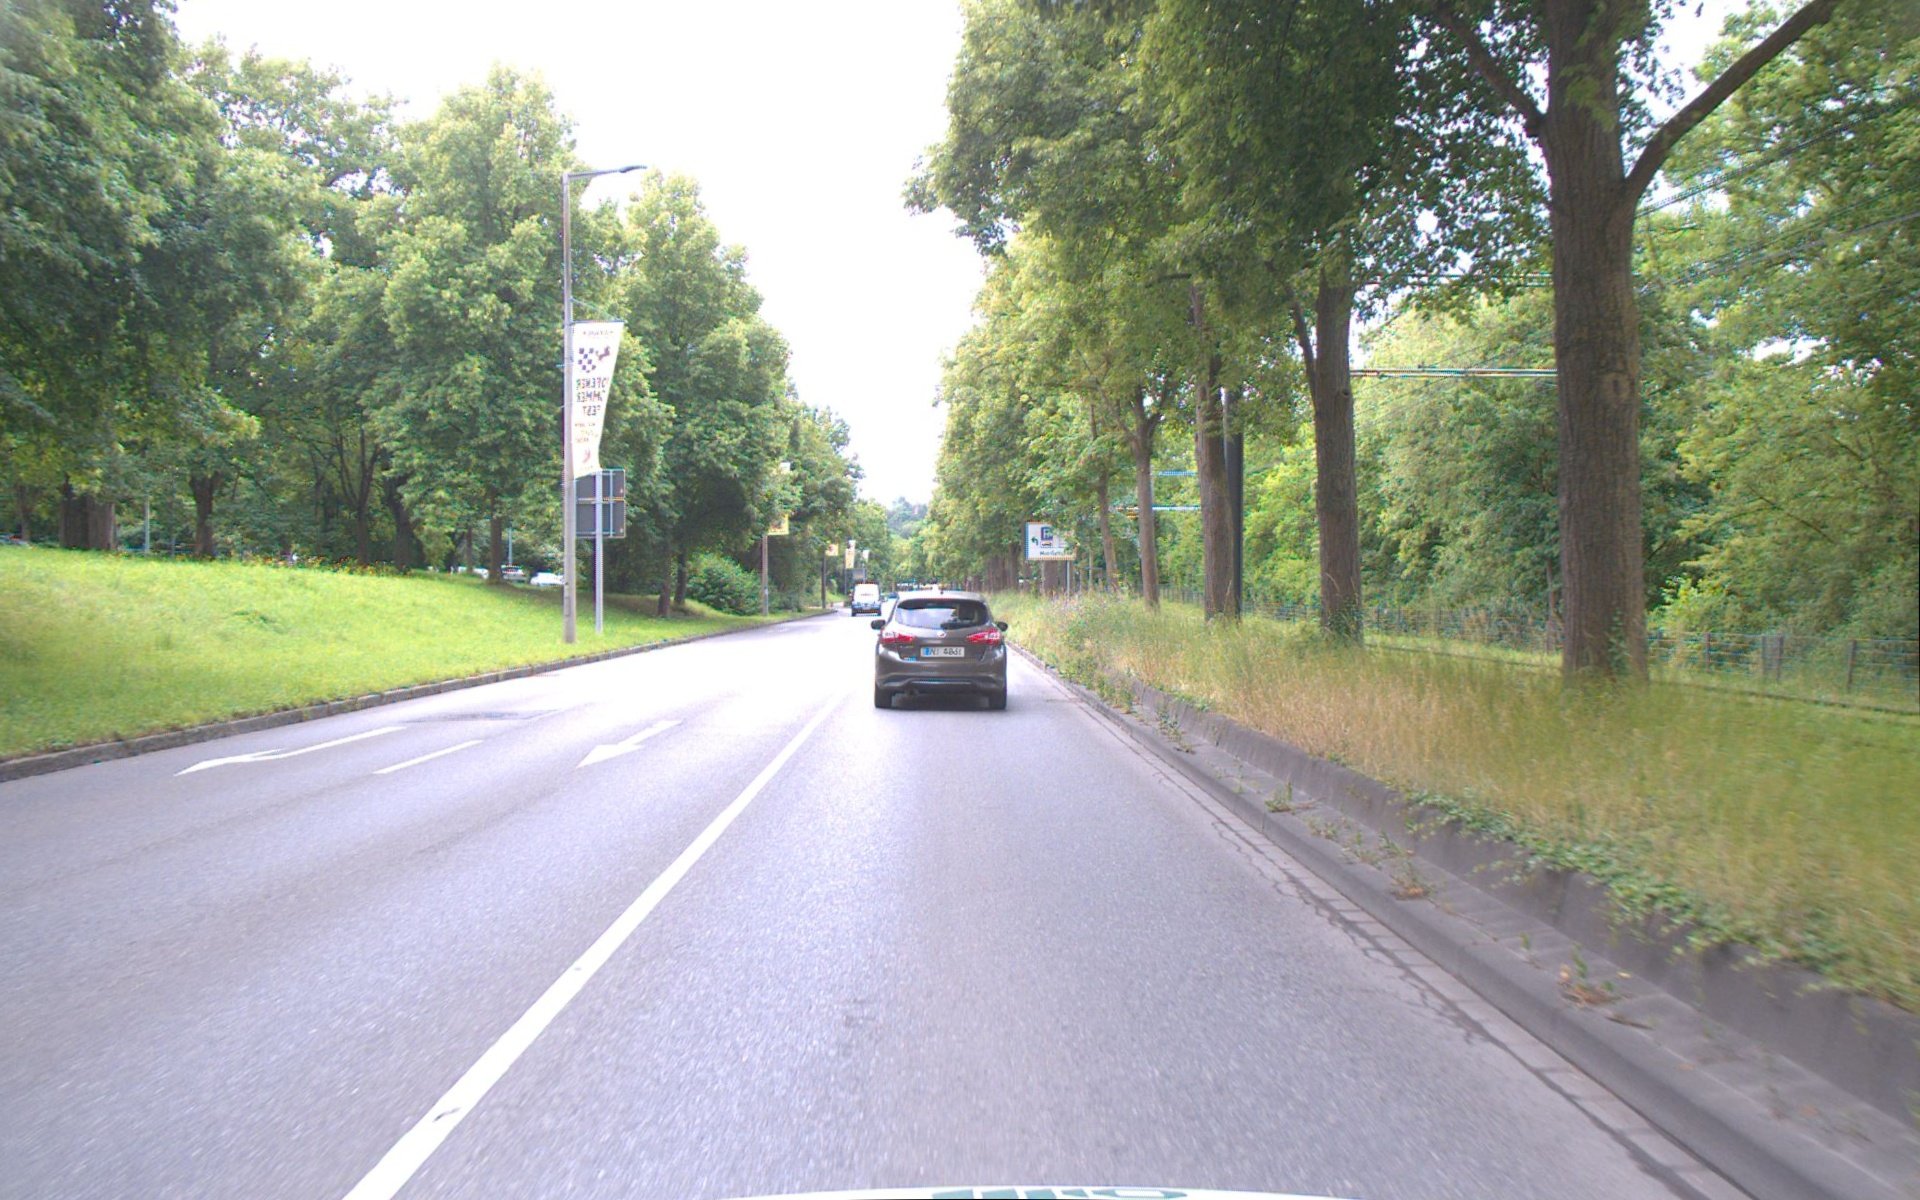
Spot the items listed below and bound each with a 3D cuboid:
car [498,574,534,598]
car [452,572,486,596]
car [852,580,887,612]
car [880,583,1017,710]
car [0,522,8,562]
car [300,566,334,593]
[{"bbox_3d":[-29.321,-0.891,109.171,1.625,1.512,3.969,1,0,-24],"label":"car"},{"bbox_3d":[-32.188,-1.041,108.432,1.625,1.512,3.969,1,0,-24],"label":"car"},{"bbox_3d":[-5.633,-0.232,103.394,1.953,1.990,5.183,0,0,0],"label":"car"},{"bbox_3d":[-0.192,0.592,22.594,1.695,1.564,3.550,1,0,-2],"label":"car"},{"bbox_3d":[-44.342,-2.598,72.749,4.049,1.713,1.740,1,0,-25],"label":"car"},{"bbox_3d":[-37.913,-1.192,97.479,1.625,1.512,3.969,1,0,-24],"label":"car"}]
